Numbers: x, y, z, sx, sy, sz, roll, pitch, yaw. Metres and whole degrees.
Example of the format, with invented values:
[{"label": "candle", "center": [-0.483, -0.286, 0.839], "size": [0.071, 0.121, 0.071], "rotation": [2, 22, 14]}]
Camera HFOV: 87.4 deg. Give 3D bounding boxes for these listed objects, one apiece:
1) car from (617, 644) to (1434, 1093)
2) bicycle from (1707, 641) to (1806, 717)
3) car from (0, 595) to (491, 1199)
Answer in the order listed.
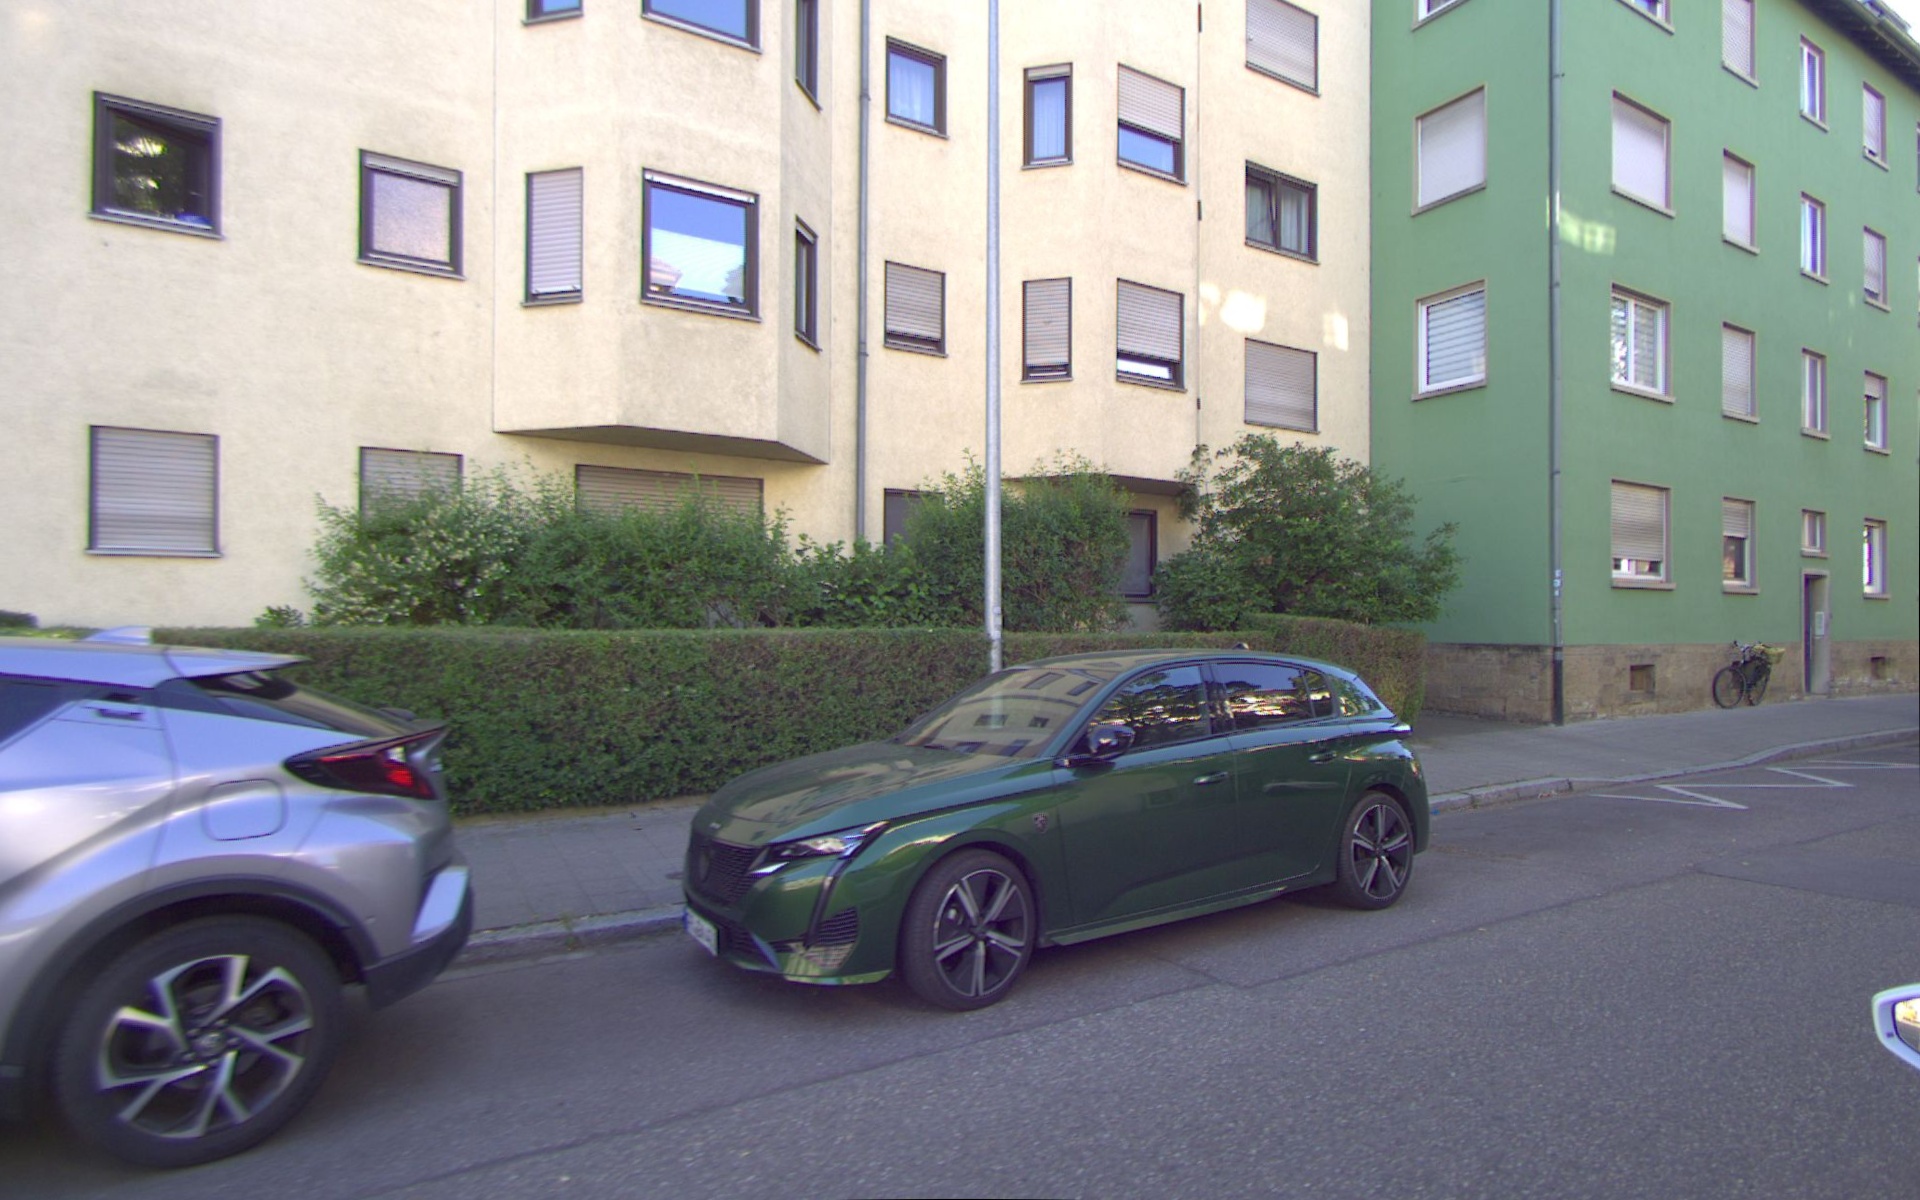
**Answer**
[{"label": "car", "center": [0.480, 1.028, 5.335], "size": [4.090, 1.516, 1.743], "rotation": [1, -4, -33]}, {"label": "bicycle", "center": [13.766, 1.340, 17.339], "size": [2.252, 1.194, 0.548], "rotation": [1, 1, -31]}, {"label": "car", "center": [-3.691, 0.868, 2.915], "size": [3.961, 1.681, 1.891], "rotation": [2, -4, -36]}]
